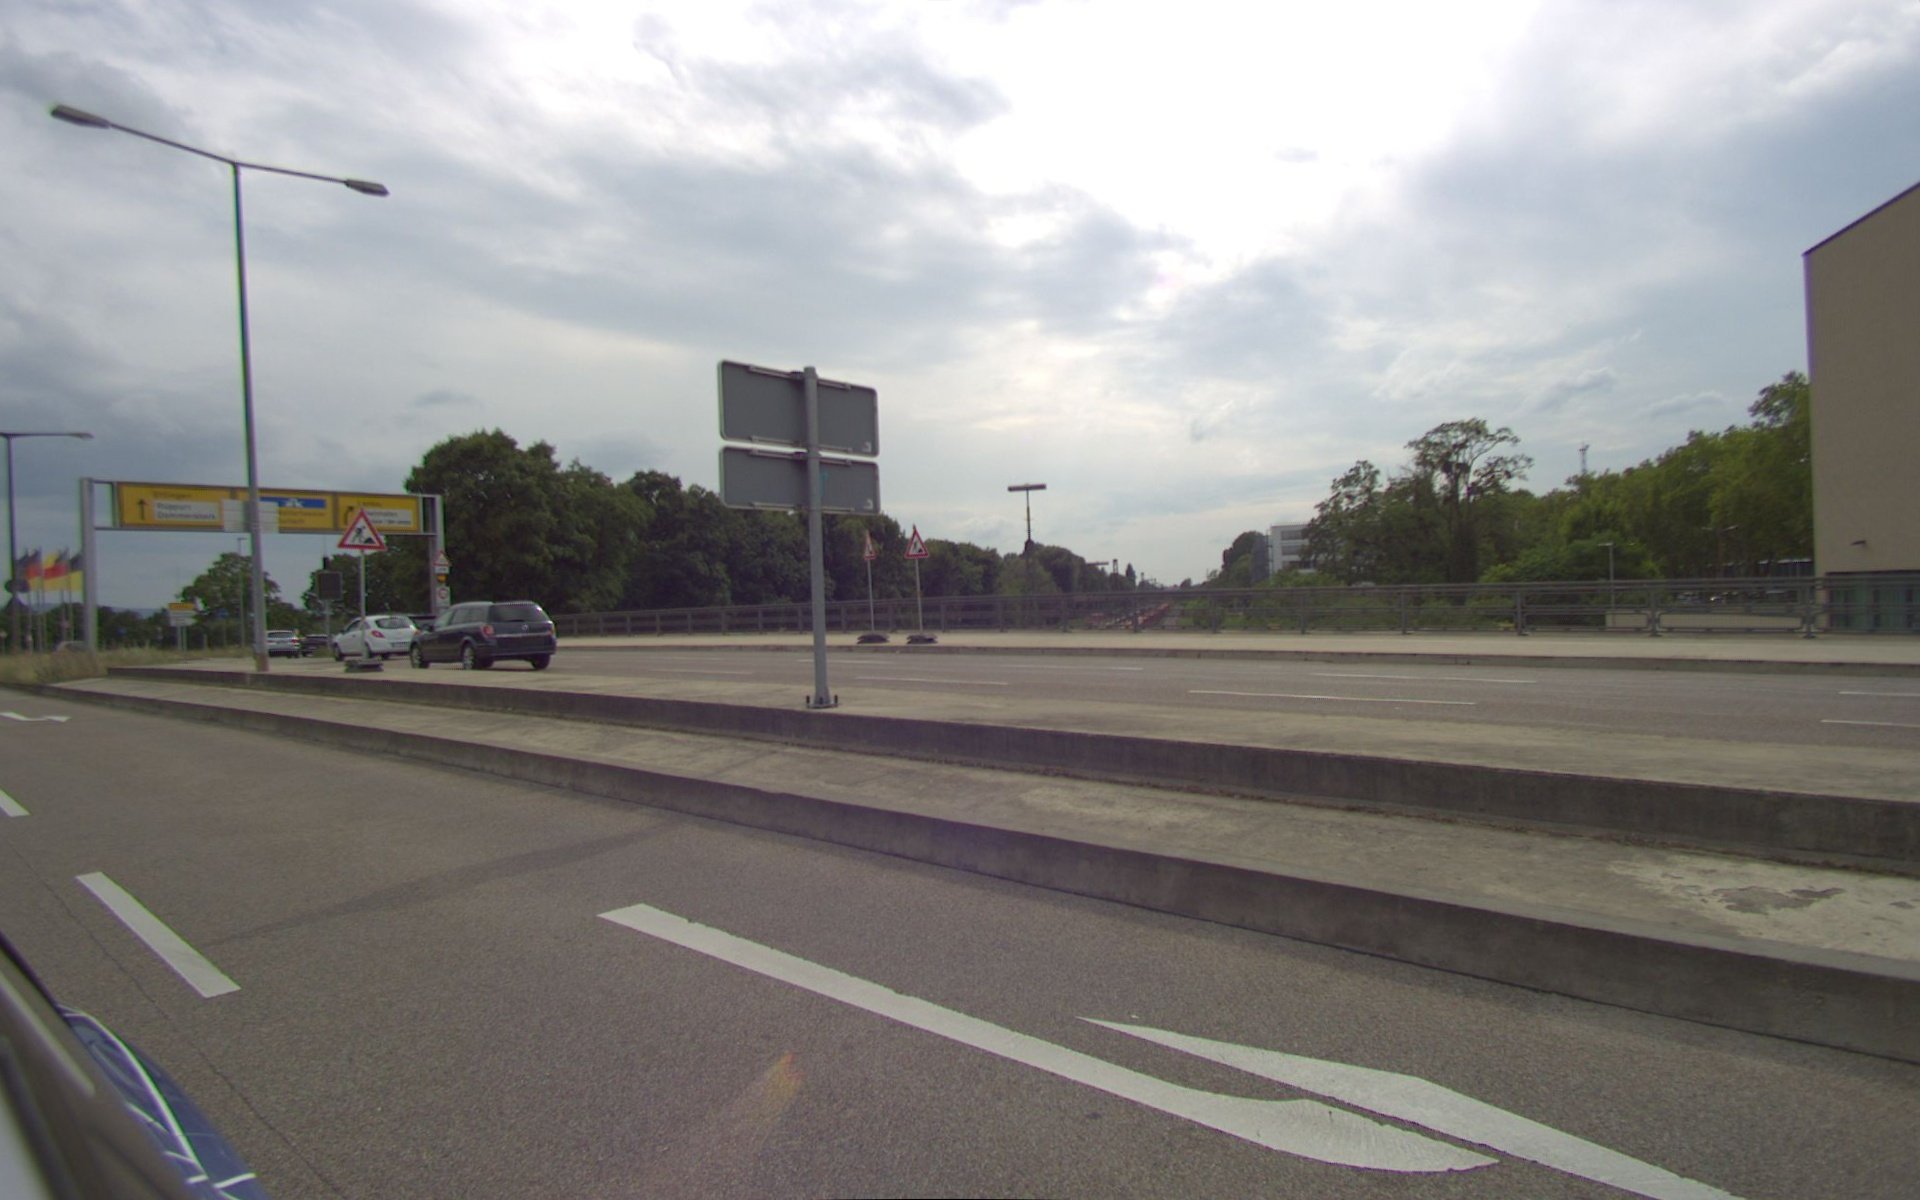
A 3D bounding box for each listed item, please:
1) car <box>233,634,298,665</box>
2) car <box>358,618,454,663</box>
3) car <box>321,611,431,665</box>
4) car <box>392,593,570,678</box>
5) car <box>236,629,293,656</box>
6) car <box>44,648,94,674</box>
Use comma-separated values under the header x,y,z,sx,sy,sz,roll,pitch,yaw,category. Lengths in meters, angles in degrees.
x,y,z,sx,sy,sz,roll,pitch,yaw,category
-37.955,2.673,55.269,4.450,1.543,1.868,-2,0,41,car
-22.341,1.606,40.747,4.542,1.652,1.868,-2,0,40,car
-19.754,1.288,34.177,4.214,1.652,1.868,-2,0,40,car
-10.652,0.774,22.362,4.582,1.652,1.867,-2,0,41,car
-45.550,2.789,66.358,1.861,1.619,4.774,-3,-2,-20,car
-56.405,3.833,64.027,3.912,1.543,1.706,-2,0,38,car
